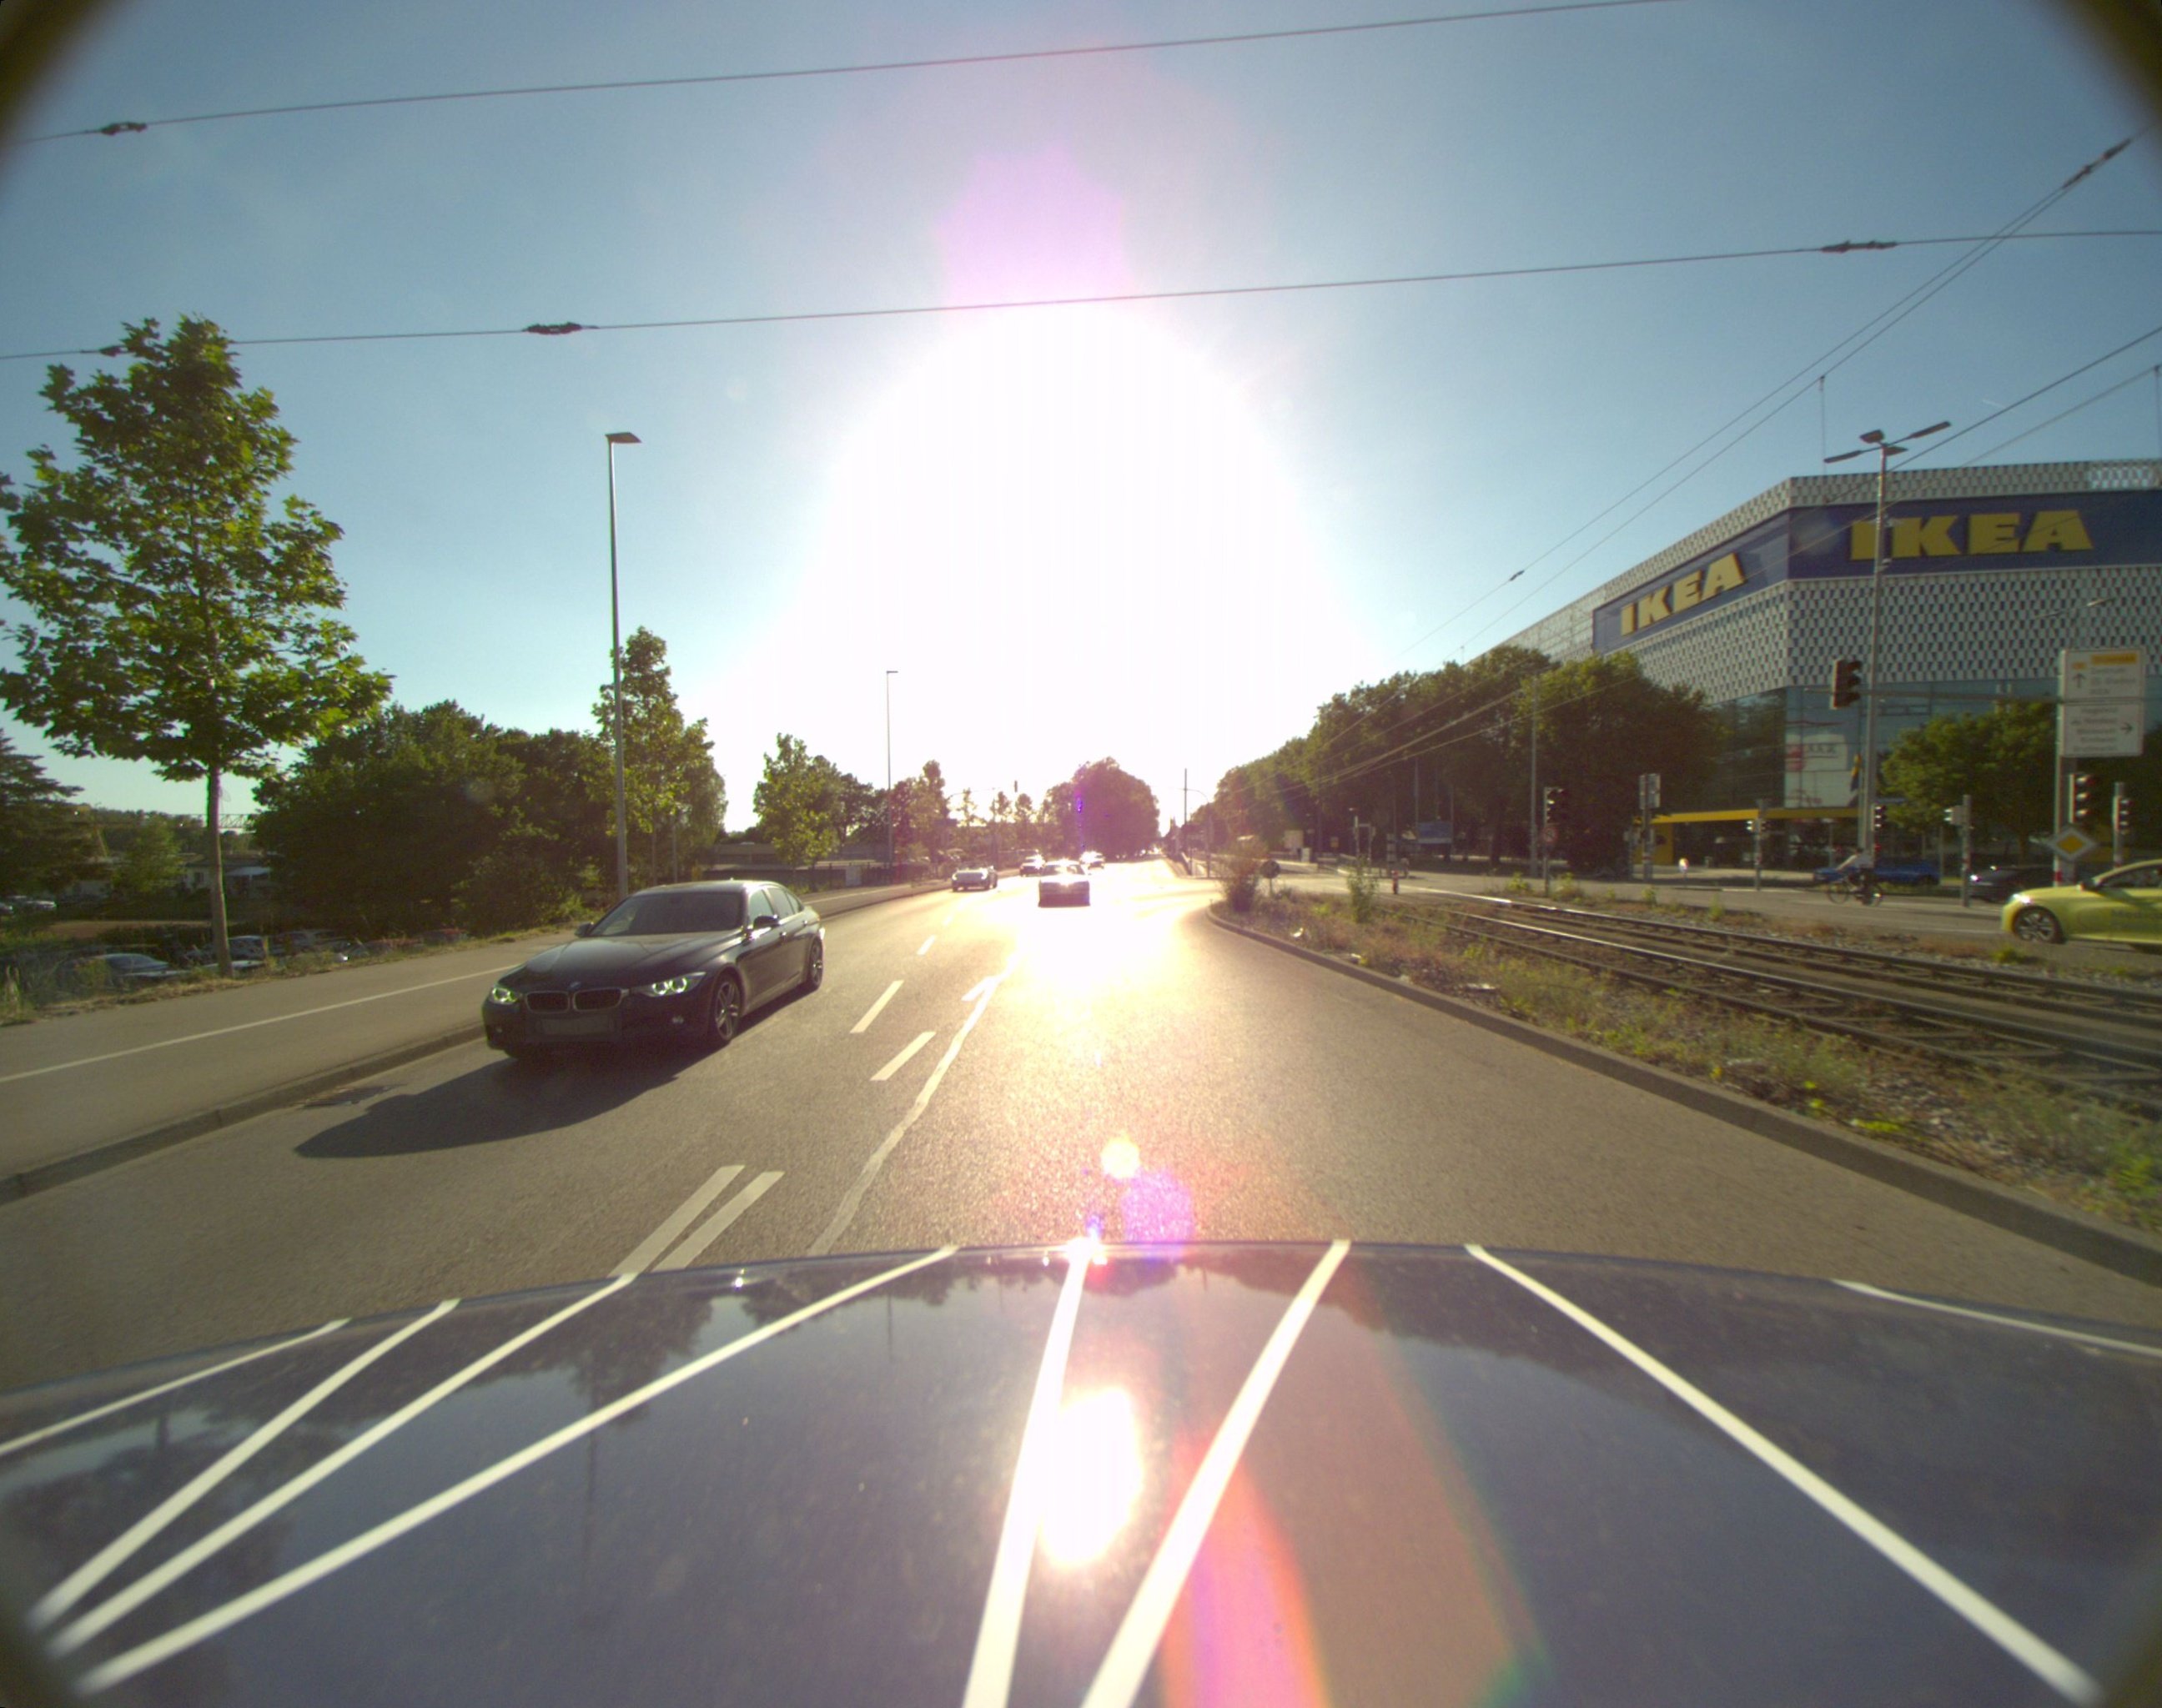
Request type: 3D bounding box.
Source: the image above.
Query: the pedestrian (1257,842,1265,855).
[{"bbox_3d":[24.829,-0.741,104.756,0.733,1.682,0.687,-3,1,-4],"label":"pedestrian"}]

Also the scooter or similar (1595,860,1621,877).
[{"bbox_3d":[33.867,0.922,48.835,1.067,1.009,0.788,0,1,-8],"label":"scooter or similar"}]

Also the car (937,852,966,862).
[{"bbox_3d":[-22.677,0.480,132.970,4.659,1.560,1.859,-3,1,3],"label":"car"}]

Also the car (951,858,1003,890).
[{"bbox_3d":[-5.205,0.978,38.568,1.856,1.415,3.980,-2,0,3],"label":"car"}]

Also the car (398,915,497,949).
[{"bbox_3d":[-32.766,4.022,39.340,3.701,1.440,1.752,-3,1,6],"label":"car"}]

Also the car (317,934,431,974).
[{"bbox_3d":[-32.323,4.562,34.791,3.701,1.442,1.667,-3,2,4],"label":"car"}]

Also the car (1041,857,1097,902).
[{"bbox_3d":[-0.385,0.907,28.223,1.602,1.440,3.800,-2,1,6],"label":"car"}]

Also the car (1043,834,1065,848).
[{"bbox_3d":[-4.987,-2.416,142.499,2.938,2.607,5.926,-1,1,9],"label":"car"}]

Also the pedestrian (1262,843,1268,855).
[{"bbox_3d":[24.646,-0.688,101.694,0.652,1.611,0.635,-2,1,9],"label":"pedestrian"}]

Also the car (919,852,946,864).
[{"bbox_3d":[-23.987,0.641,122.789,4.029,1.577,1.685,-3,1,3],"label":"car"}]

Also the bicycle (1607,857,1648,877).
[{"bbox_3d":[35.373,0.839,49.163,2.279,1.211,0.714,0,1,-8],"label":"bicycle"}]

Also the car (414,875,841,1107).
[{"bbox_3d":[-4.077,1.078,7.941,1.871,1.459,4.584,-2,1,-3],"label":"car"}]

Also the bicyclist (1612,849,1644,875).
[{"bbox_3d":[35.408,0.511,49.169,1.486,1.608,0.822,0,1,-8],"label":"bicyclist"}]

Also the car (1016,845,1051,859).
[{"bbox_3d":[-7.733,-0.318,123.743,5.348,2.010,2.104,-3,1,4],"label":"car"}]

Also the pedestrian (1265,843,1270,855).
[{"bbox_3d":[24.660,-0.660,100.376,0.603,1.611,0.691,-2,1,9],"label":"pedestrian"}]

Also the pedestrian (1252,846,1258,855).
[{"bbox_3d":[24.756,-0.542,108.372,0.654,1.245,0.685,-3,1,3],"label":"pedestrian"}]

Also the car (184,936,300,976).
[{"bbox_3d":[-41.043,4.964,37.227,3.918,1.561,1.693,-3,1,4],"label":"car"}]

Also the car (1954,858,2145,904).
[{"bbox_3d":[34.993,0.939,27.578,4.086,1.450,1.922,1,2,6],"label":"car"}]

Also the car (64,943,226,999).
[{"bbox_3d":[-32.924,4.118,26.782,3.918,1.567,1.581,-3,1,4],"label":"car"}]

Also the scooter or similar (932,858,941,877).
[{"bbox_3d":[-9.873,0.935,51.907,0.525,1.224,1.265,-1,1,-8],"label":"scooter or similar"}]

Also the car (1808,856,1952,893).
[{"bbox_3d":[37.670,0.926,35.932,4.251,1.489,2.017,2,2,10],"label":"car"}]

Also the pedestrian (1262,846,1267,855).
[{"bbox_3d":[24.964,-0.531,103.179,0.603,1.217,0.617,-2,1,9],"label":"pedestrian"}]

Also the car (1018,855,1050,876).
[{"bbox_3d":[-3.629,0.876,59.376,1.739,1.502,4.002,-2,0,8],"label":"car"}]

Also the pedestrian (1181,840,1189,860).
[{"bbox_3d":[8.984,-0.370,65.588,0.535,1.647,0.751,-3,1,8],"label":"pedestrian"}]

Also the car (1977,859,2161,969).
[{"bbox_3d":[15.530,0.838,10.438,1.787,1.439,4.109,1,1,6],"label":"car"}]

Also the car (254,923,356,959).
[{"bbox_3d":[-40.850,4.573,40.049,3.701,1.492,1.680,-3,1,4],"label":"car"}]

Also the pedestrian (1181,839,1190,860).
[{"bbox_3d":[9.265,-0.407,67.247,0.708,1.765,0.536,-3,2,10],"label":"pedestrian"}]

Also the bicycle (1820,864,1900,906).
[{"bbox_3d":[23.935,0.928,23.387,0.589,1.161,1.992,-1,1,6],"label":"bicycle"}]

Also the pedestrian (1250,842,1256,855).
[{"bbox_3d":[24.217,-0.743,106.925,0.654,1.732,0.686,-3,1,9],"label":"pedestrian"}]

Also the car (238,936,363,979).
[{"bbox_3d":[-32.615,4.322,31.808,3.701,1.440,1.581,-3,1,4],"label":"car"}]

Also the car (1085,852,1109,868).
[{"bbox_3d":[1.546,0.565,73.123,1.870,1.422,3.832,-3,0,7],"label":"car"}]

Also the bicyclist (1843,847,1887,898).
[{"bbox_3d":[23.887,0.545,23.165,0.589,1.514,0.751,-1,1,6],"label":"bicyclist"}]

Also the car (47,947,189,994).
[{"bbox_3d":[-40.991,4.958,32.401,3.918,1.567,1.785,-3,1,4],"label":"car"}]
